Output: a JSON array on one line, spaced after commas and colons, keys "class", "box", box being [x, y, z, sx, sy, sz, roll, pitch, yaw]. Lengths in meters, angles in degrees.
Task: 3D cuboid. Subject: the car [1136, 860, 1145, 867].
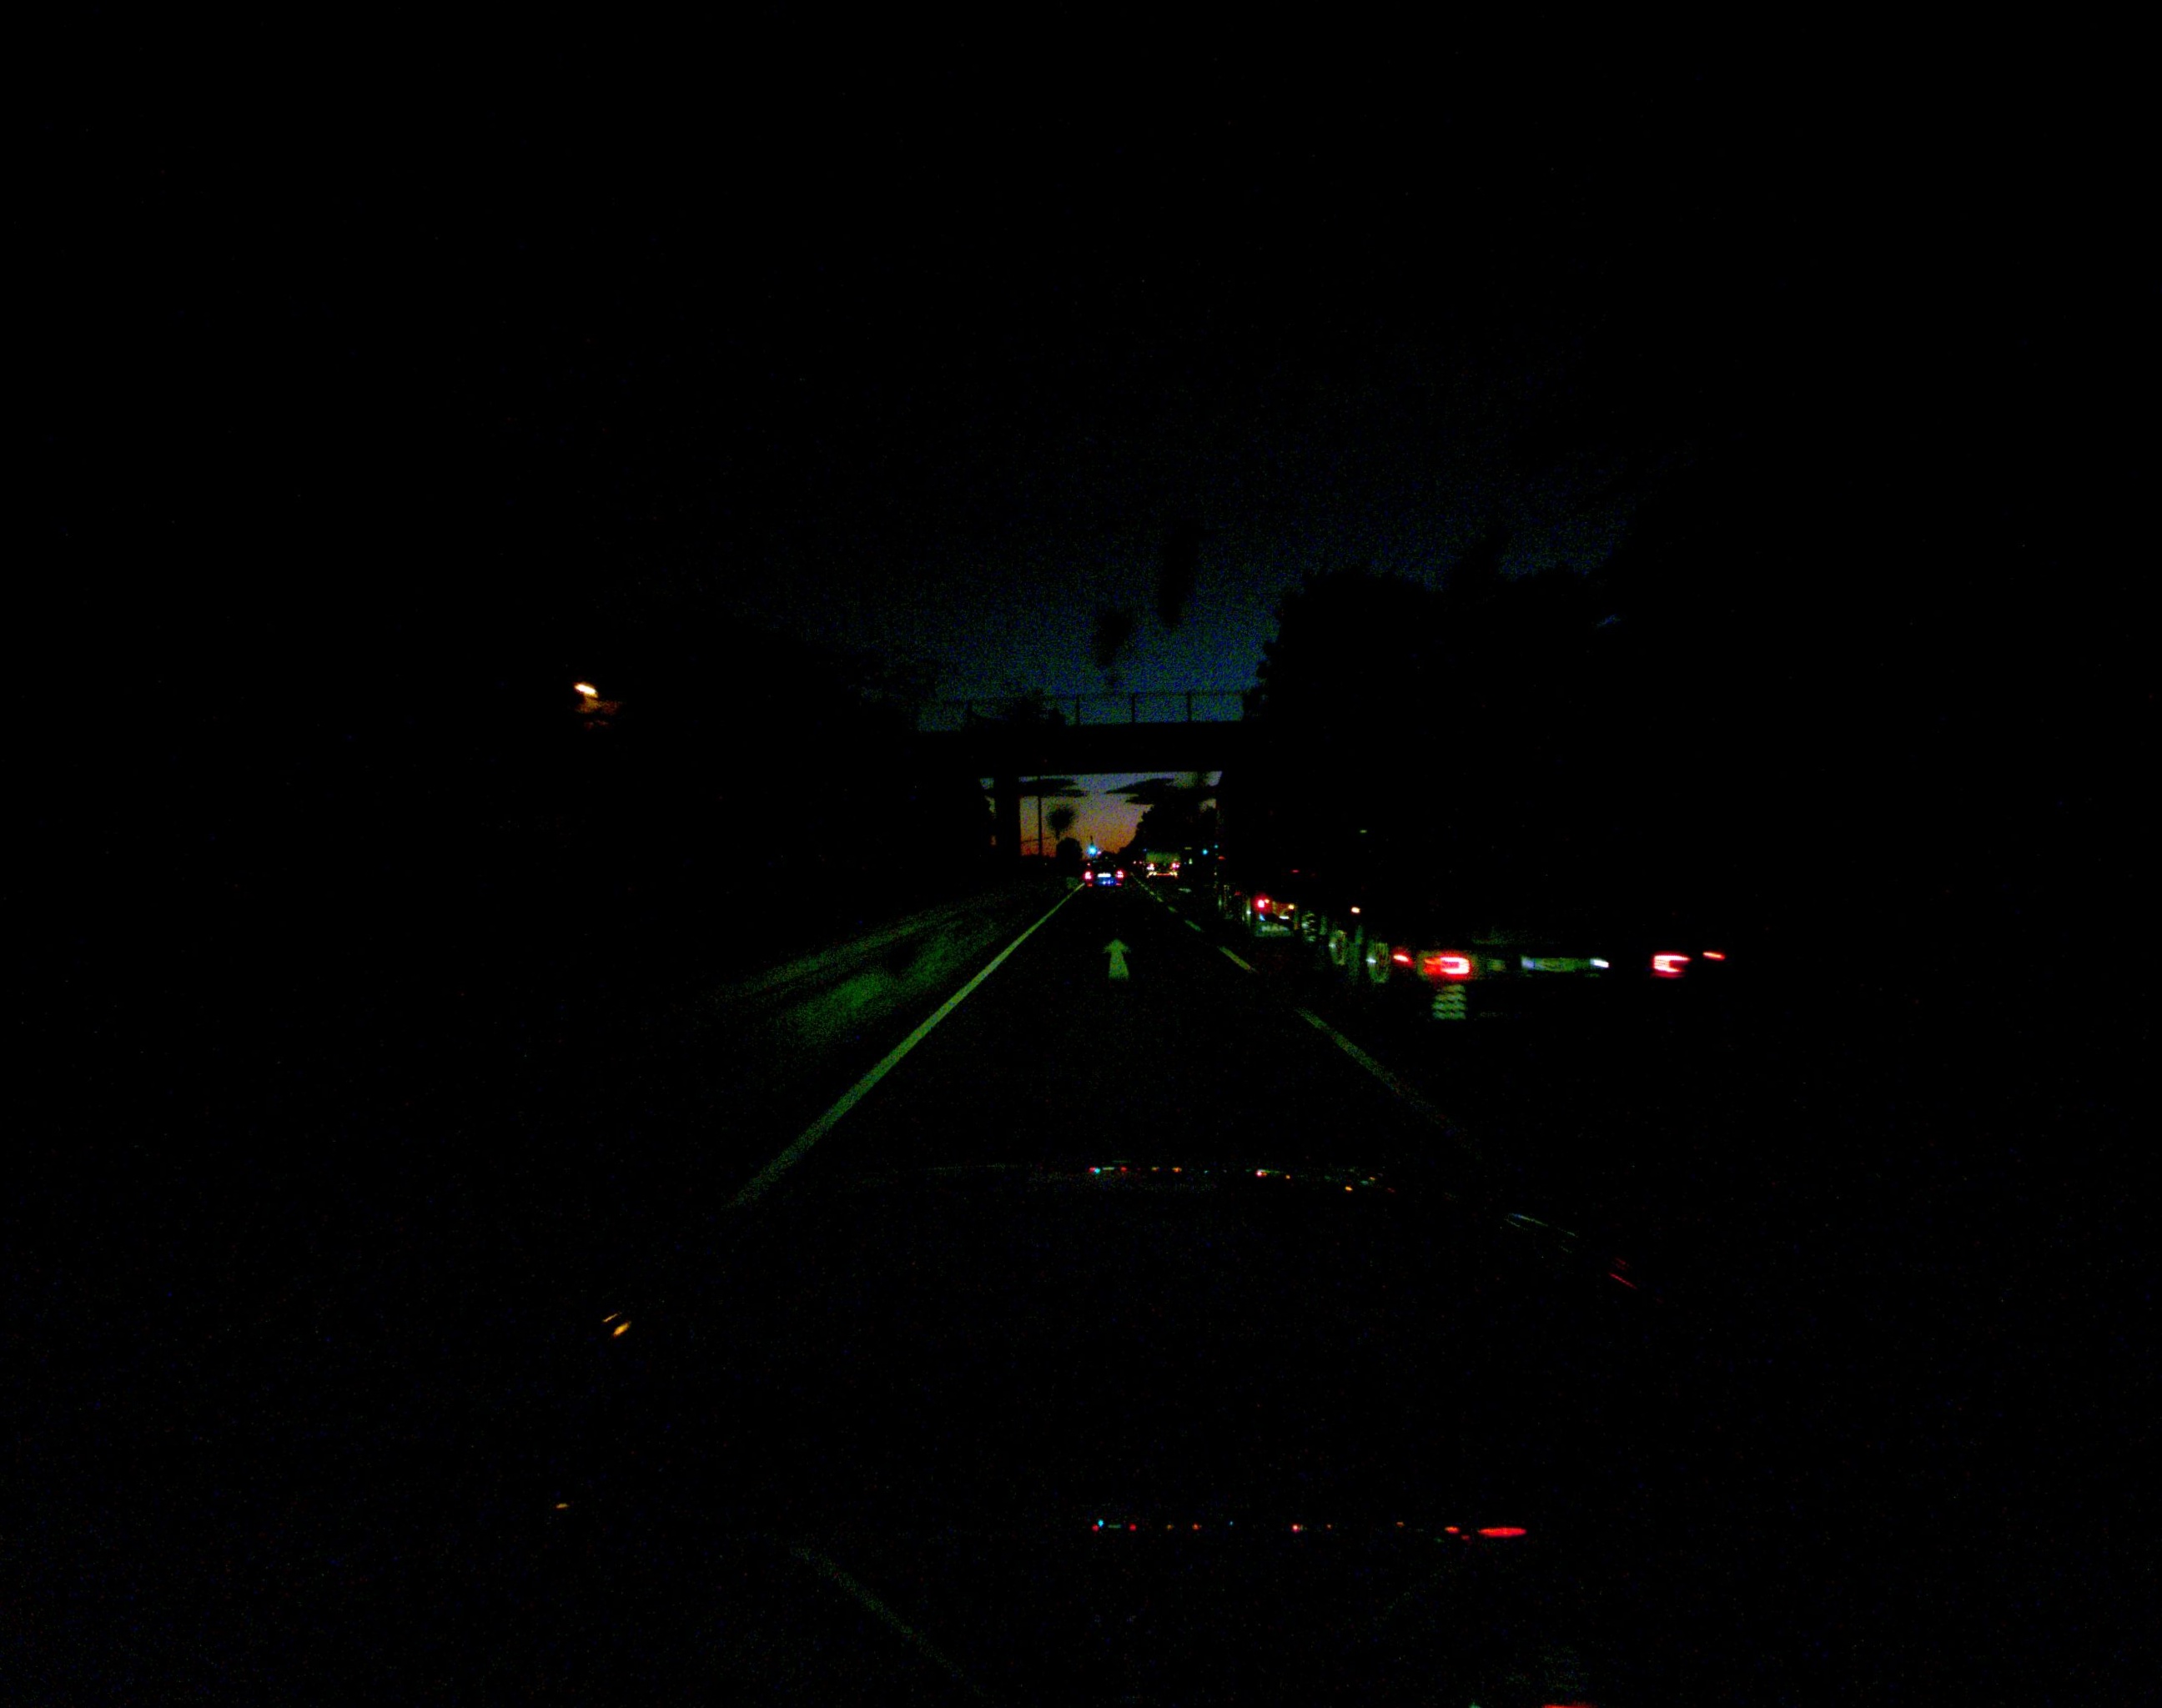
[{"class": "car", "box": [12.234, 1.972, 167.234, 1.689, 1.452, 3.915, -1, -1, 2]}]

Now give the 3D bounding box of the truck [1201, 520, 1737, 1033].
[{"class": "truck", "box": [4.075, -0.562, 13.133, 2.677, 4.106, 13.145, -1, -1, 2]}]

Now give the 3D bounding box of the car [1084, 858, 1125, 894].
[{"class": "car", "box": [1.042, 0.932, 35.717, 1.689, 1.452, 3.915, -1, -1, 2]}]

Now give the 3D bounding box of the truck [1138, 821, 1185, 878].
[{"class": "truck", "box": [6.260, -0.246, 65.231, 2.872, 4.106, 12.687, -1, -1, 2]}]
